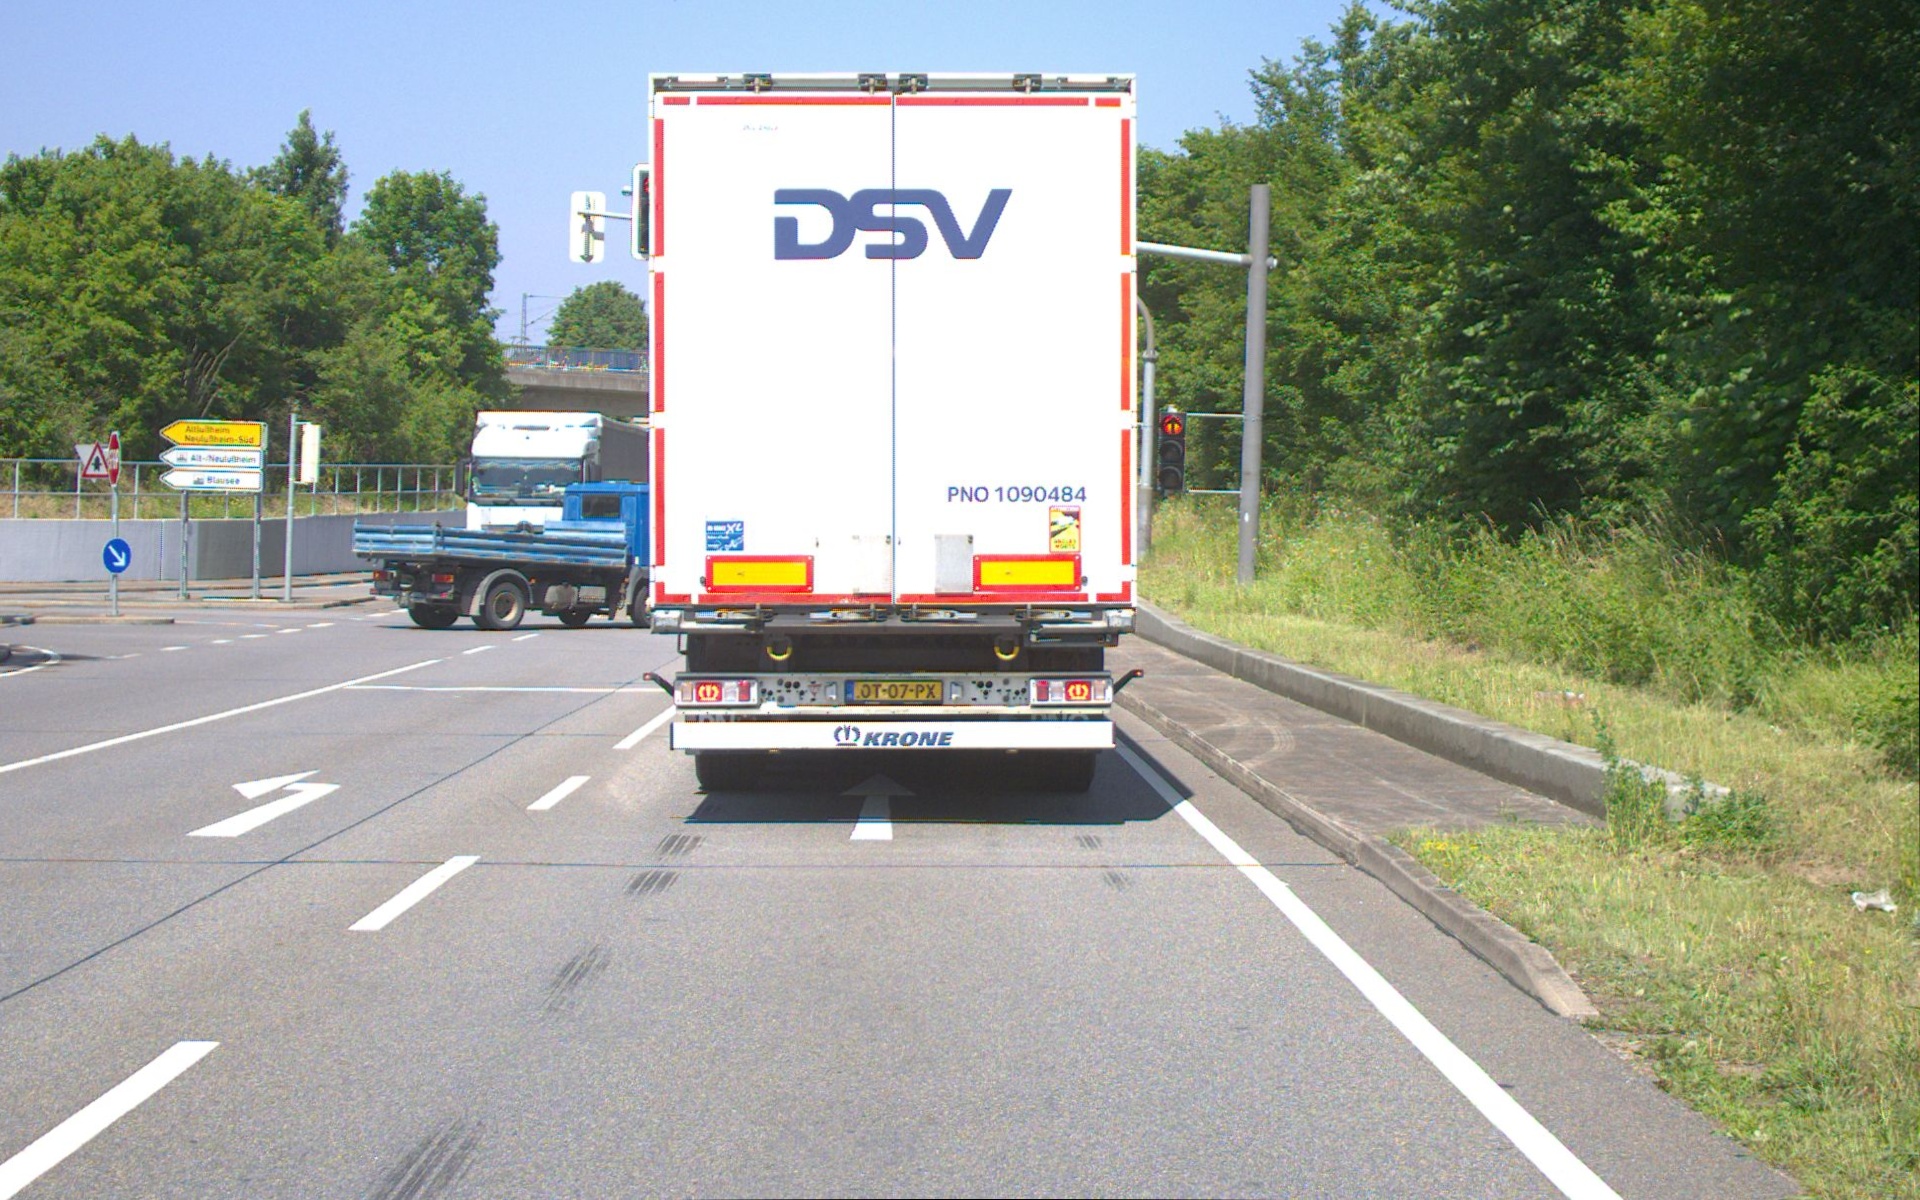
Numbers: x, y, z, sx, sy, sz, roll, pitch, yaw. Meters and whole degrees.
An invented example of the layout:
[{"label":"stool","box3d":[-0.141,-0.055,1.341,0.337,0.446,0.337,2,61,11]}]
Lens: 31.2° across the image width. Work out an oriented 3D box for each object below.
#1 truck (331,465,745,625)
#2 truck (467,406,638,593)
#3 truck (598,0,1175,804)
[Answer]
[{"label":"truck","box3d":[-6.919,-0.893,56.954,6.414,2.490,2.713,0,1,-43]},{"label":"truck","box3d":[-8.809,-2.211,75.647,2.353,3.737,12.626,0,2,-1]},{"label":"truck","box3d":[-0.312,-1.317,22.718,2.950,4.553,9.863,1,1,1]}]
